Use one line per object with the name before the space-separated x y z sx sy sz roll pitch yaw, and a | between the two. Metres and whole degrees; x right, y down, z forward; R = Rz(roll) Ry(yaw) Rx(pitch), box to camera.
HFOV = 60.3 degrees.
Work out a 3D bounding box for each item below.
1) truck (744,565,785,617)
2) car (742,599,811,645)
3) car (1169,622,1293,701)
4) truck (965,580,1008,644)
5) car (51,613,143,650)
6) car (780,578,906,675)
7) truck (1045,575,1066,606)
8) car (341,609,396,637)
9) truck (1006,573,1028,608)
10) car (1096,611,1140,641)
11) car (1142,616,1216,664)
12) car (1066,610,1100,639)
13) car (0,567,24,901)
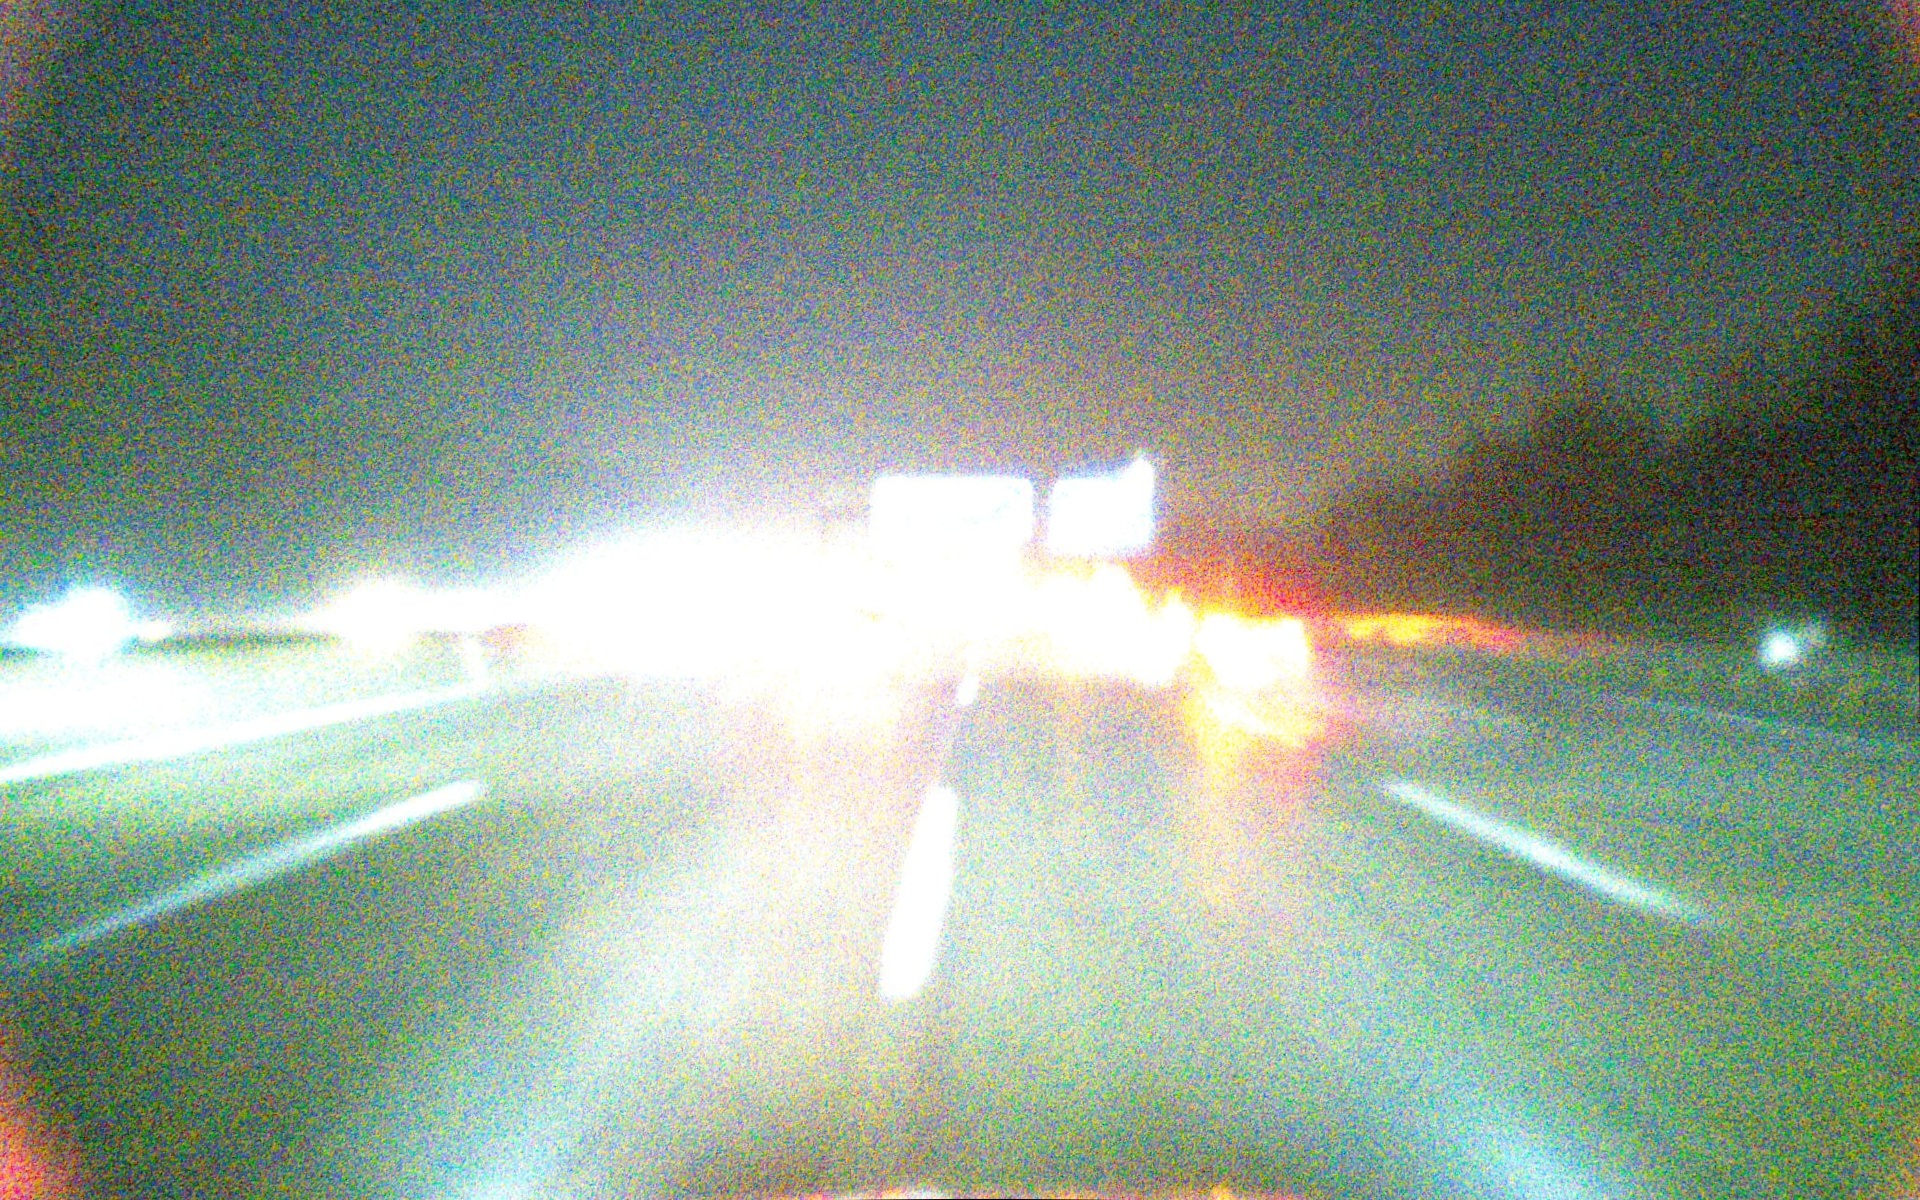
truck | -19.314 -0.818 163.757 2.862 4.934 7.578 -2 -1 1
car | -5.433 0.655 49.313 1.628 1.258 3.760 -2 -1 -1
car | 4.733 1.056 29.231 1.549 1.268 3.067 1 0 -3
truck | 1.406 0.656 85.485 1.952 3.096 6.467 -2 -1 2
car | -32.258 1.158 61.917 1.454 1.307 3.556 1 0 2
car | -1.907 0.410 28.103 1.764 1.513 4.001 1 0 1
truck | 10.201 -1.008 177.132 1.952 3.096 6.467 -2 -1 2
car | -29.699 1.142 83.086 1.465 1.307 3.232 -2 -1 2
truck | 5.481 -0.893 158.152 1.952 3.096 6.467 -2 -1 2
car | 7.143 1.165 74.975 1.549 1.268 3.067 1 0 -3
car | 6.149 1.094 46.673 1.549 1.268 3.067 1 0 -3
car | 7.214 1.411 97.385 1.824 1.646 4.001 1 0 2
car | -5.455 0.647 5.572 1.820 1.567 4.752 1 1 1
